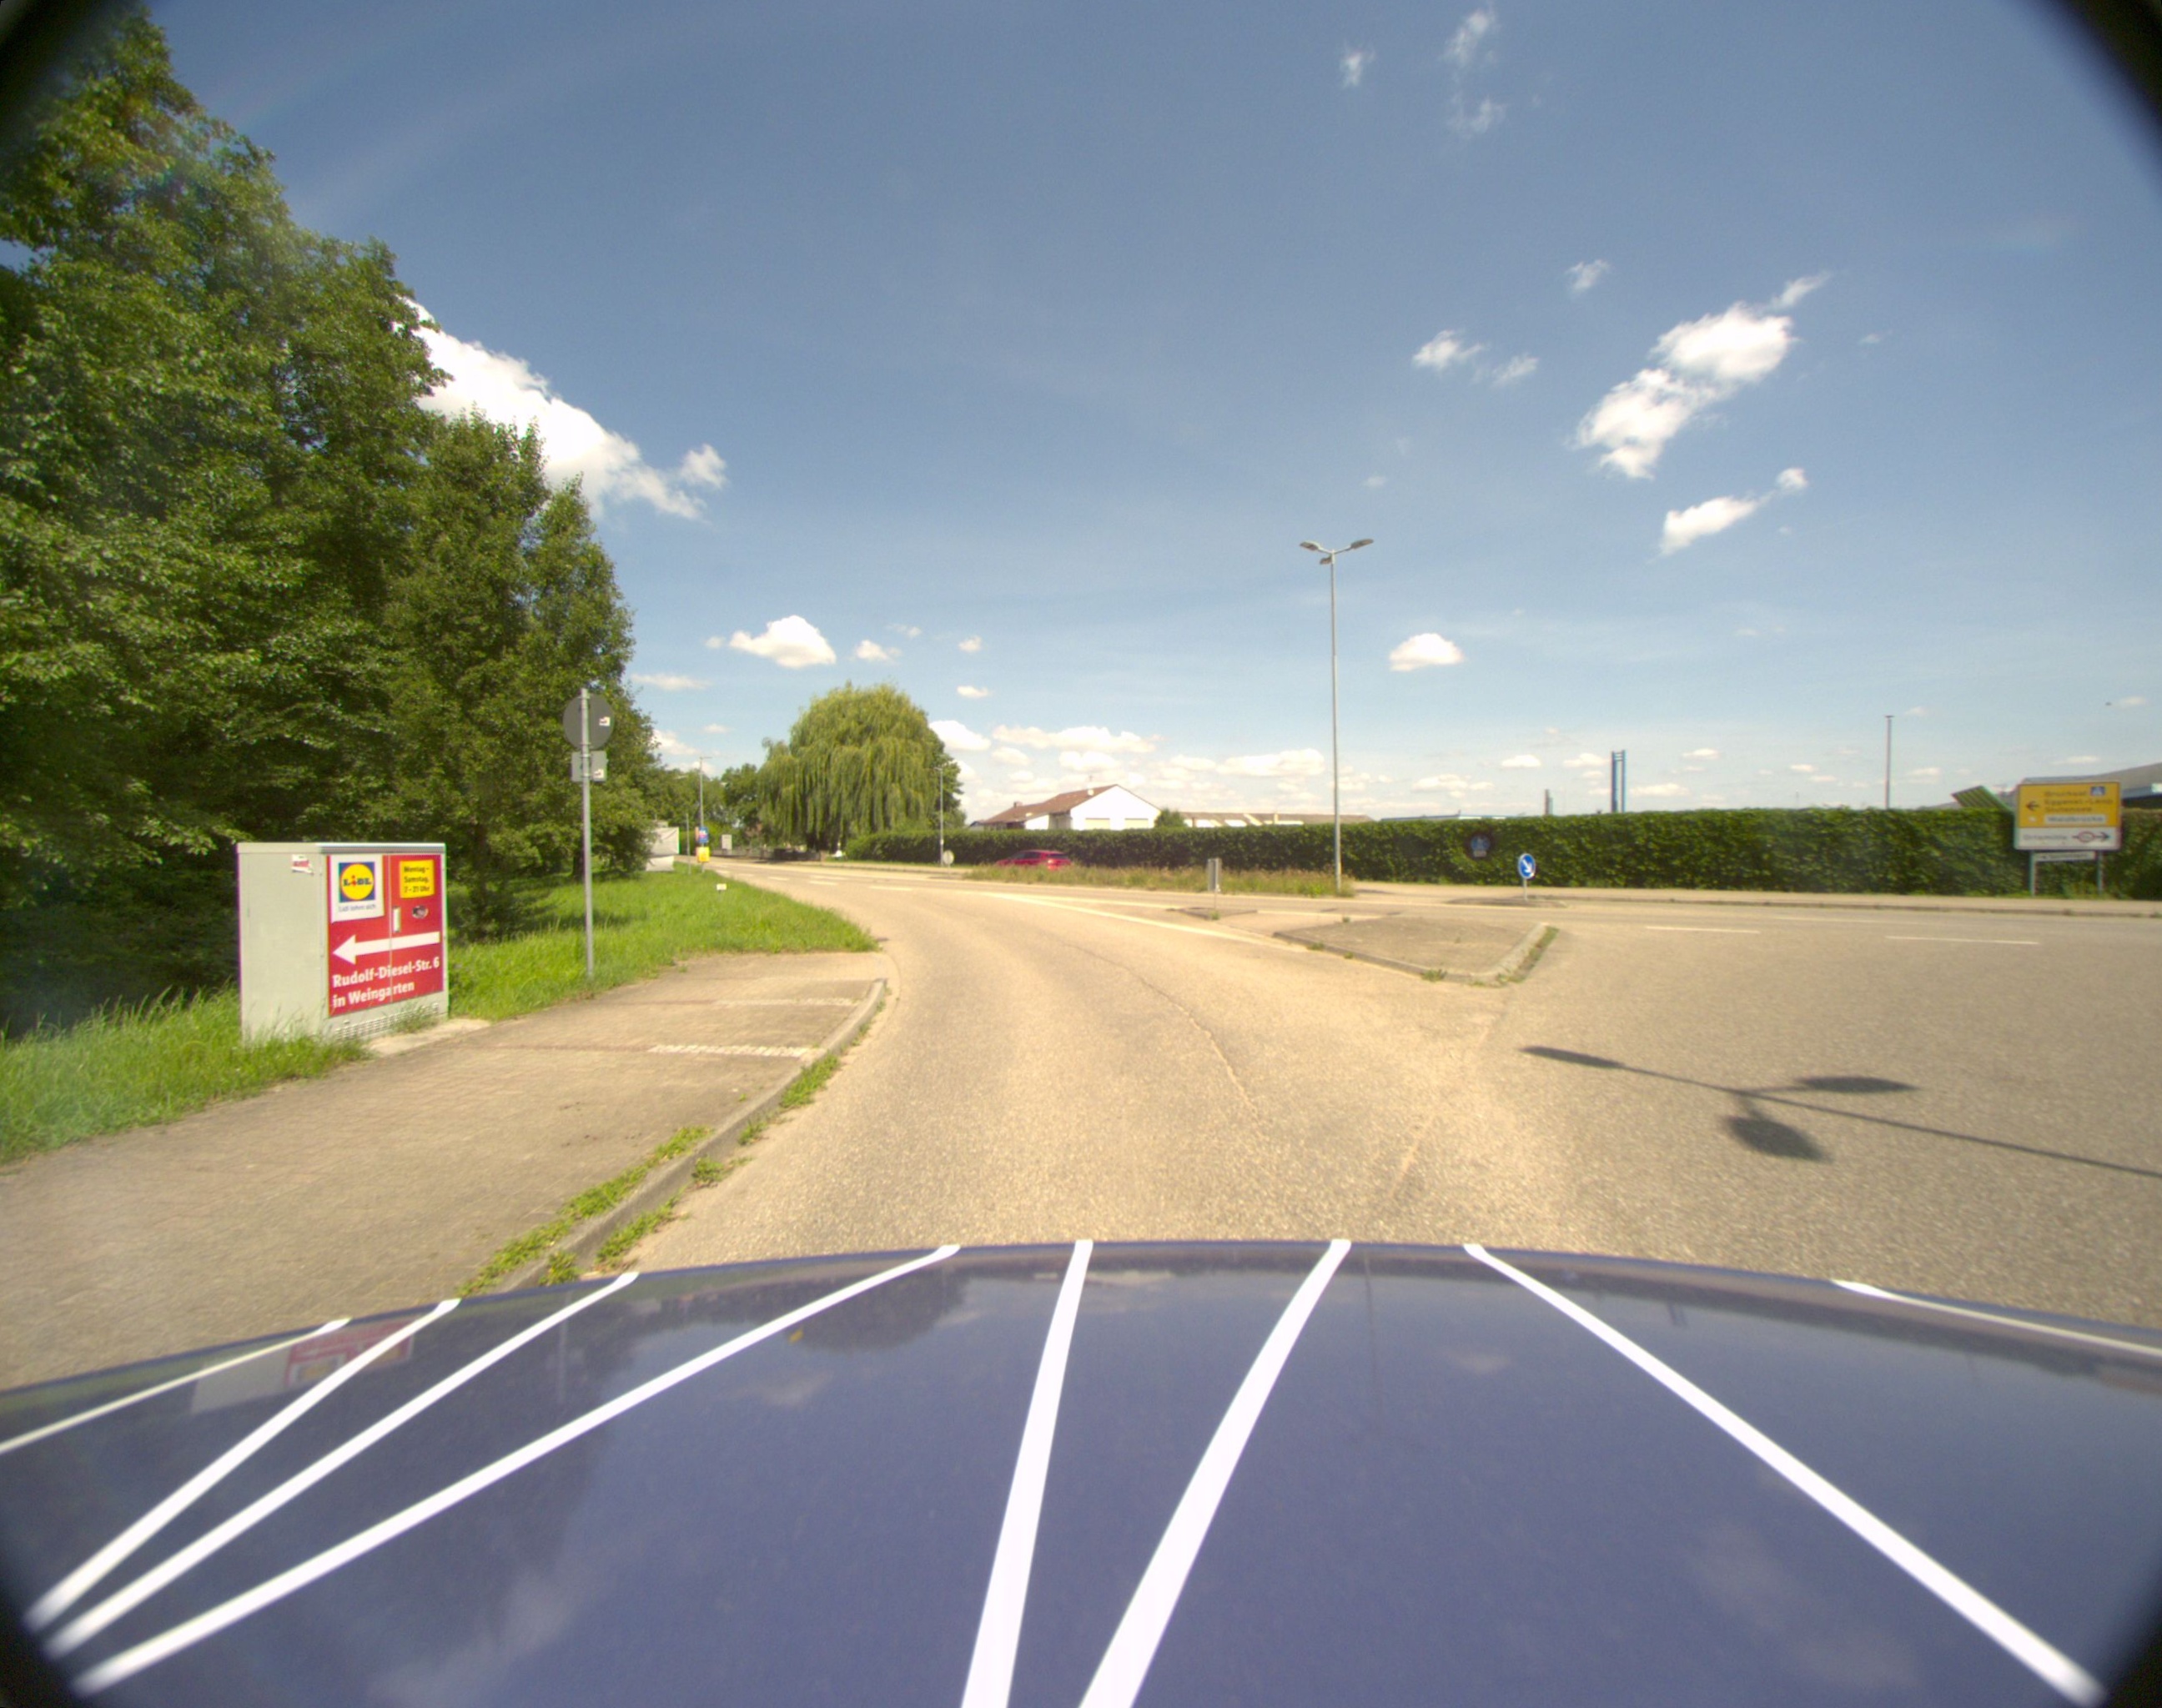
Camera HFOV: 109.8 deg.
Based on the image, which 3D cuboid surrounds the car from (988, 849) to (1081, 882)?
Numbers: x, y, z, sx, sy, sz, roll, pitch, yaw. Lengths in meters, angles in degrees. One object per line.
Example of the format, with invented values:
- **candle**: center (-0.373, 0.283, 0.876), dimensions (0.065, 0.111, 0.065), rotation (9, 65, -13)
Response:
- **car**: center (-2.244, 0.501, 36.018), dimensions (4.373, 1.455, 1.890), rotation (0, 0, 42)
